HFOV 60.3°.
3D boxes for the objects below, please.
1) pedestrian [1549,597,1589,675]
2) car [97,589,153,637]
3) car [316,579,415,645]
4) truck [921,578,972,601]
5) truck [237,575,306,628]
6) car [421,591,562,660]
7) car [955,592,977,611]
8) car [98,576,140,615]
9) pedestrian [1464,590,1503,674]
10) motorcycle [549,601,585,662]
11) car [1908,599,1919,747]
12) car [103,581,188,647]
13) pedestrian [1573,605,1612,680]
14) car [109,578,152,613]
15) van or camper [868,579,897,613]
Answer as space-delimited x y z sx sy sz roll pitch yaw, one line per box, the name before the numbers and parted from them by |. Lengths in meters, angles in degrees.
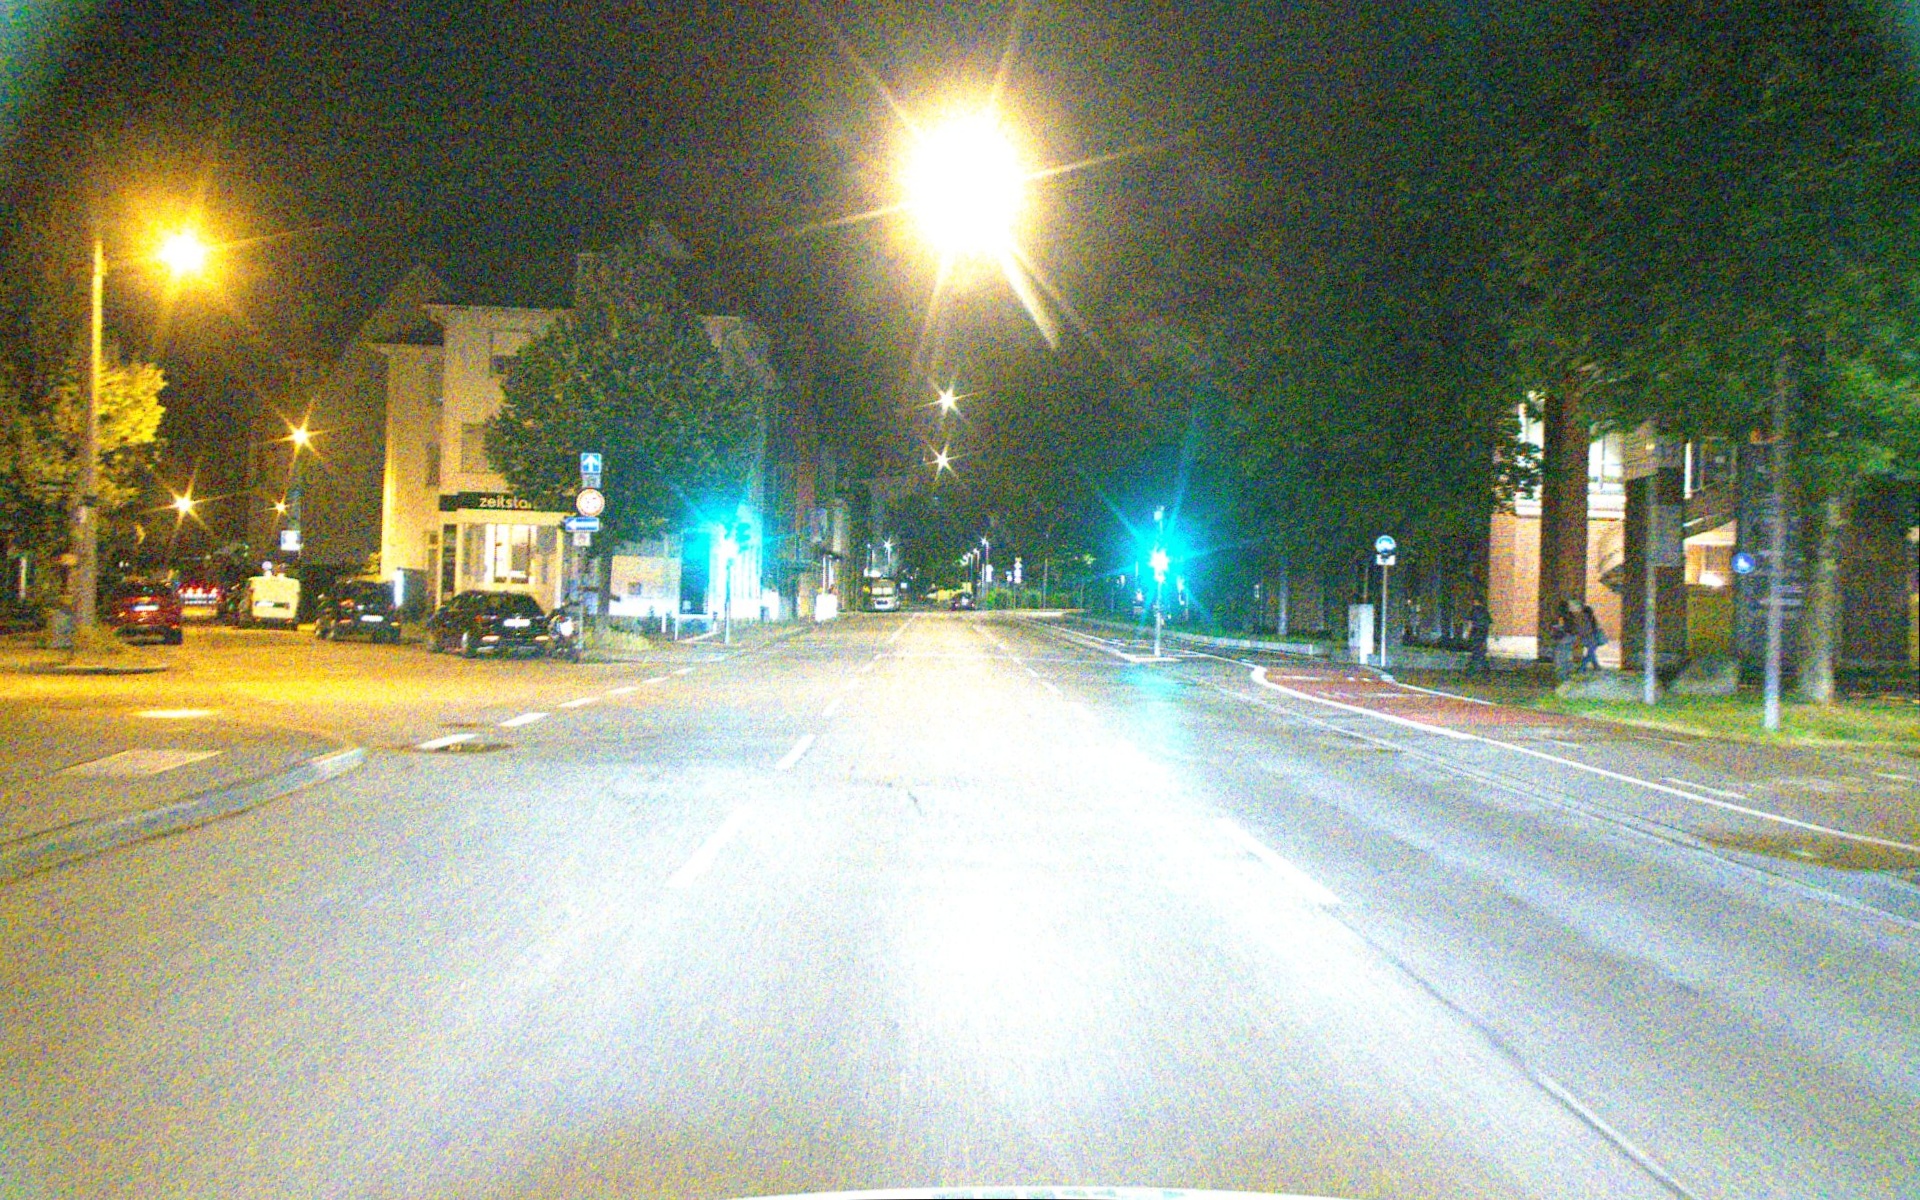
pedestrian | 13.243 0.784 35.964 0.608 1.667 0.679 1 0 -1
car | -27.456 0.404 54.372 1.583 1.515 3.525 0 1 -27
car | -16.580 0.312 46.031 1.893 1.673 4.072 4 -1 -29
truck | -1.853 -1.453 220.589 6.642 2.894 1.998 1 0 -4
truck | -24.925 0.067 59.800 1.869 1.839 4.074 1 -1 -29
car | -10.655 0.529 37.405 1.868 1.449 4.677 0 0 -32
car | 0.548 0.120 143.040 1.845 1.631 4.107 -1 0 1
car | -41.801 -0.245 82.211 1.774 1.841 3.964 1 0 -27
pedestrian | 11.550 0.700 36.510 0.609 1.843 0.759 1 0 -1
motorcycle | -8.136 0.640 34.201 0.563 1.200 2.022 1 0 -18
car | 11.676 0.749 16.024 3.999 1.480 1.786 1 0 -2
car | -21.718 0.355 44.024 1.817 1.641 4.218 -1 0 -29
pedestrian | 13.314 0.887 34.846 0.561 1.560 0.633 1 0 -1
car | -44.321 -0.223 88.438 1.873 1.766 3.969 1 -1 -24
van or camper | -6.204 -0.289 132.444 2.114 2.580 6.224 -1 0 -1
